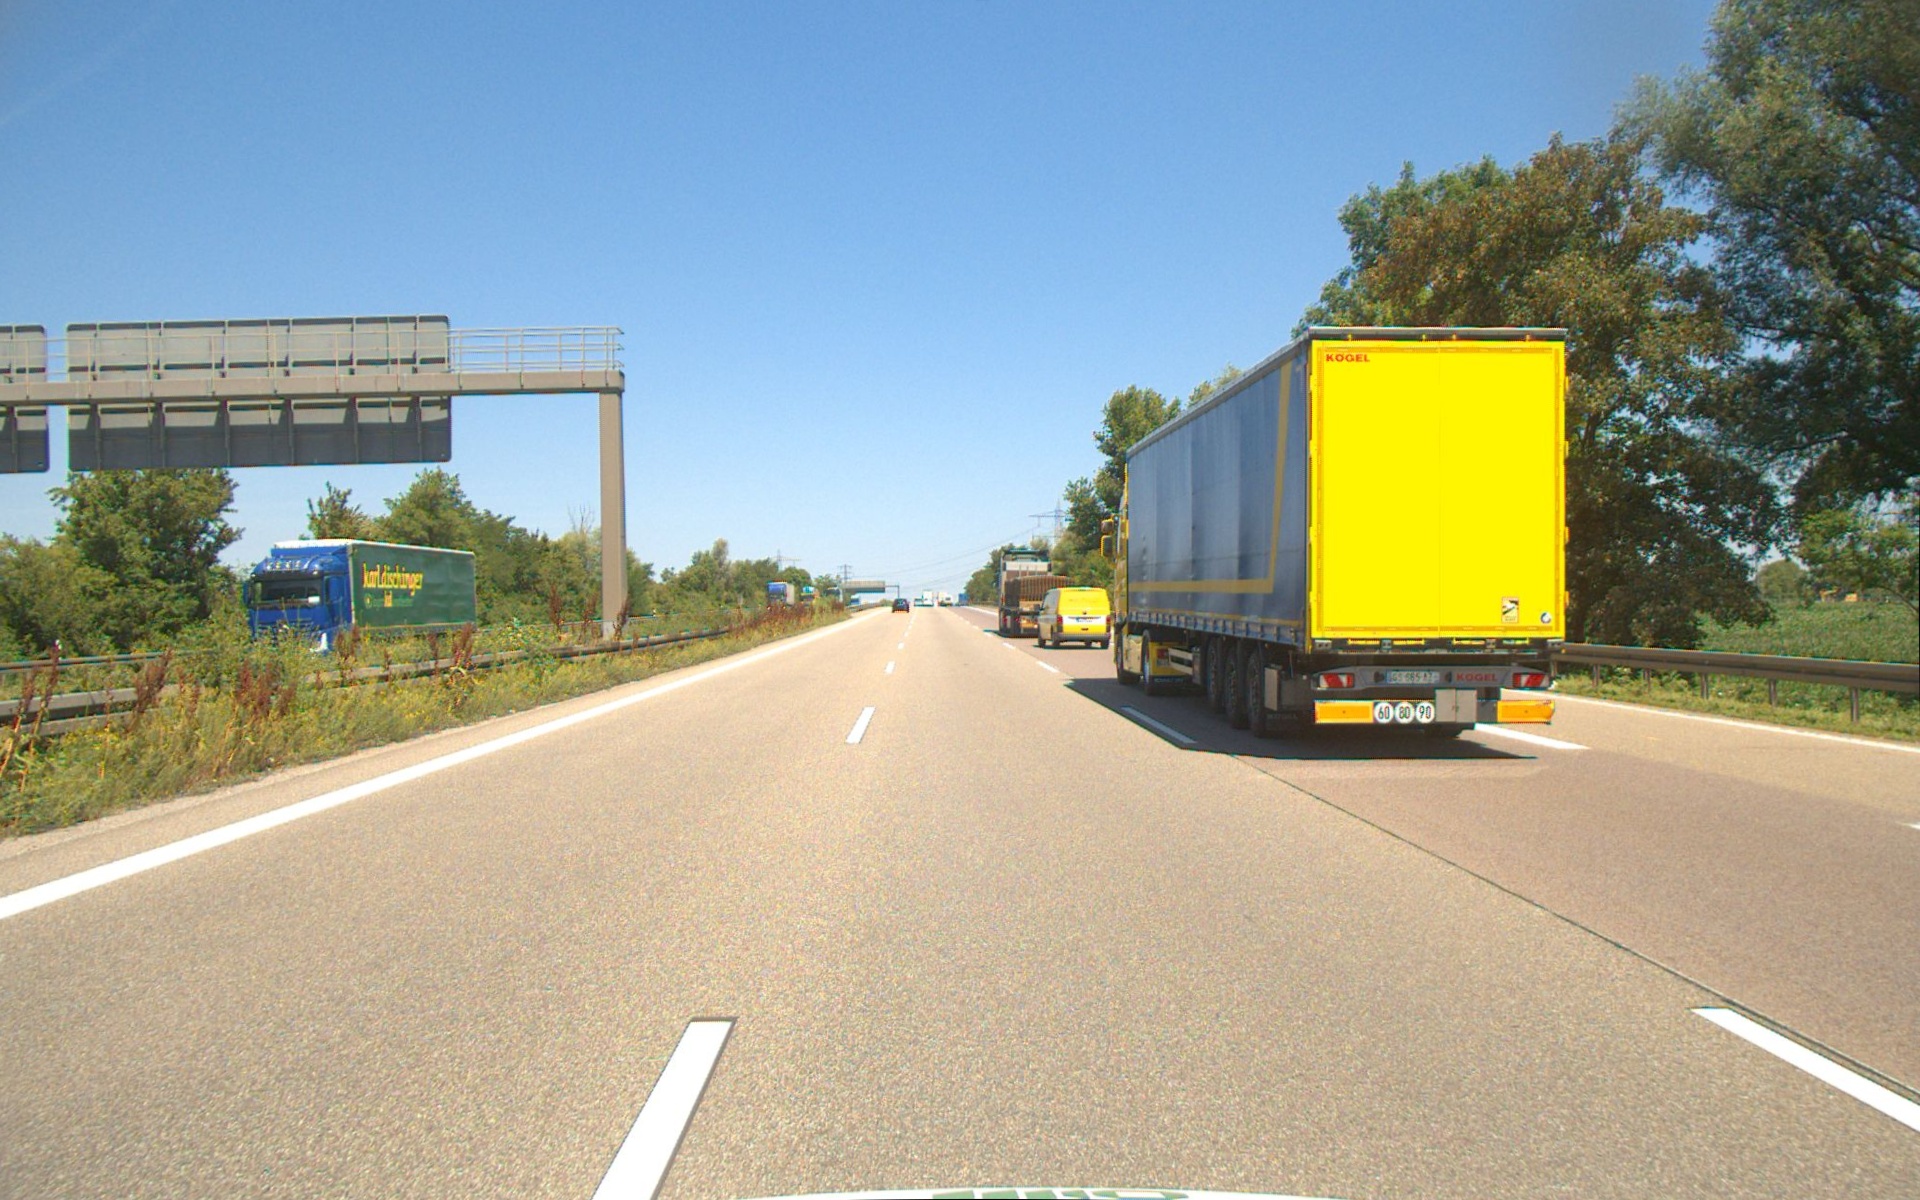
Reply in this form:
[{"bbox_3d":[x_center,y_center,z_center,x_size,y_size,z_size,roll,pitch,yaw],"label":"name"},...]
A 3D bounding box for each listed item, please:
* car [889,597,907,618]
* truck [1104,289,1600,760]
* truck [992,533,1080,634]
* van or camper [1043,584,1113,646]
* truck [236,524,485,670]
[{"bbox_3d":[-6.360,0.774,170.020,1.755,2.049,3.886,0,-1,-1],"label":"car"},{"bbox_3d":[4.381,-0.634,23.778,2.787,4.332,16.787,-1,-1,-1],"label":"truck"},{"bbox_3d":[3.199,-0.597,74.279,2.909,4.026,16.608,0,-1,-1],"label":"truck"},{"bbox_3d":[3.842,0.461,54.607,1.953,1.942,4.971,0,0,0],"label":"van or camper"},{"bbox_3d":[-21.223,-0.074,60.448,2.895,4.418,18.235,-2,0,-2],"label":"truck"}]
